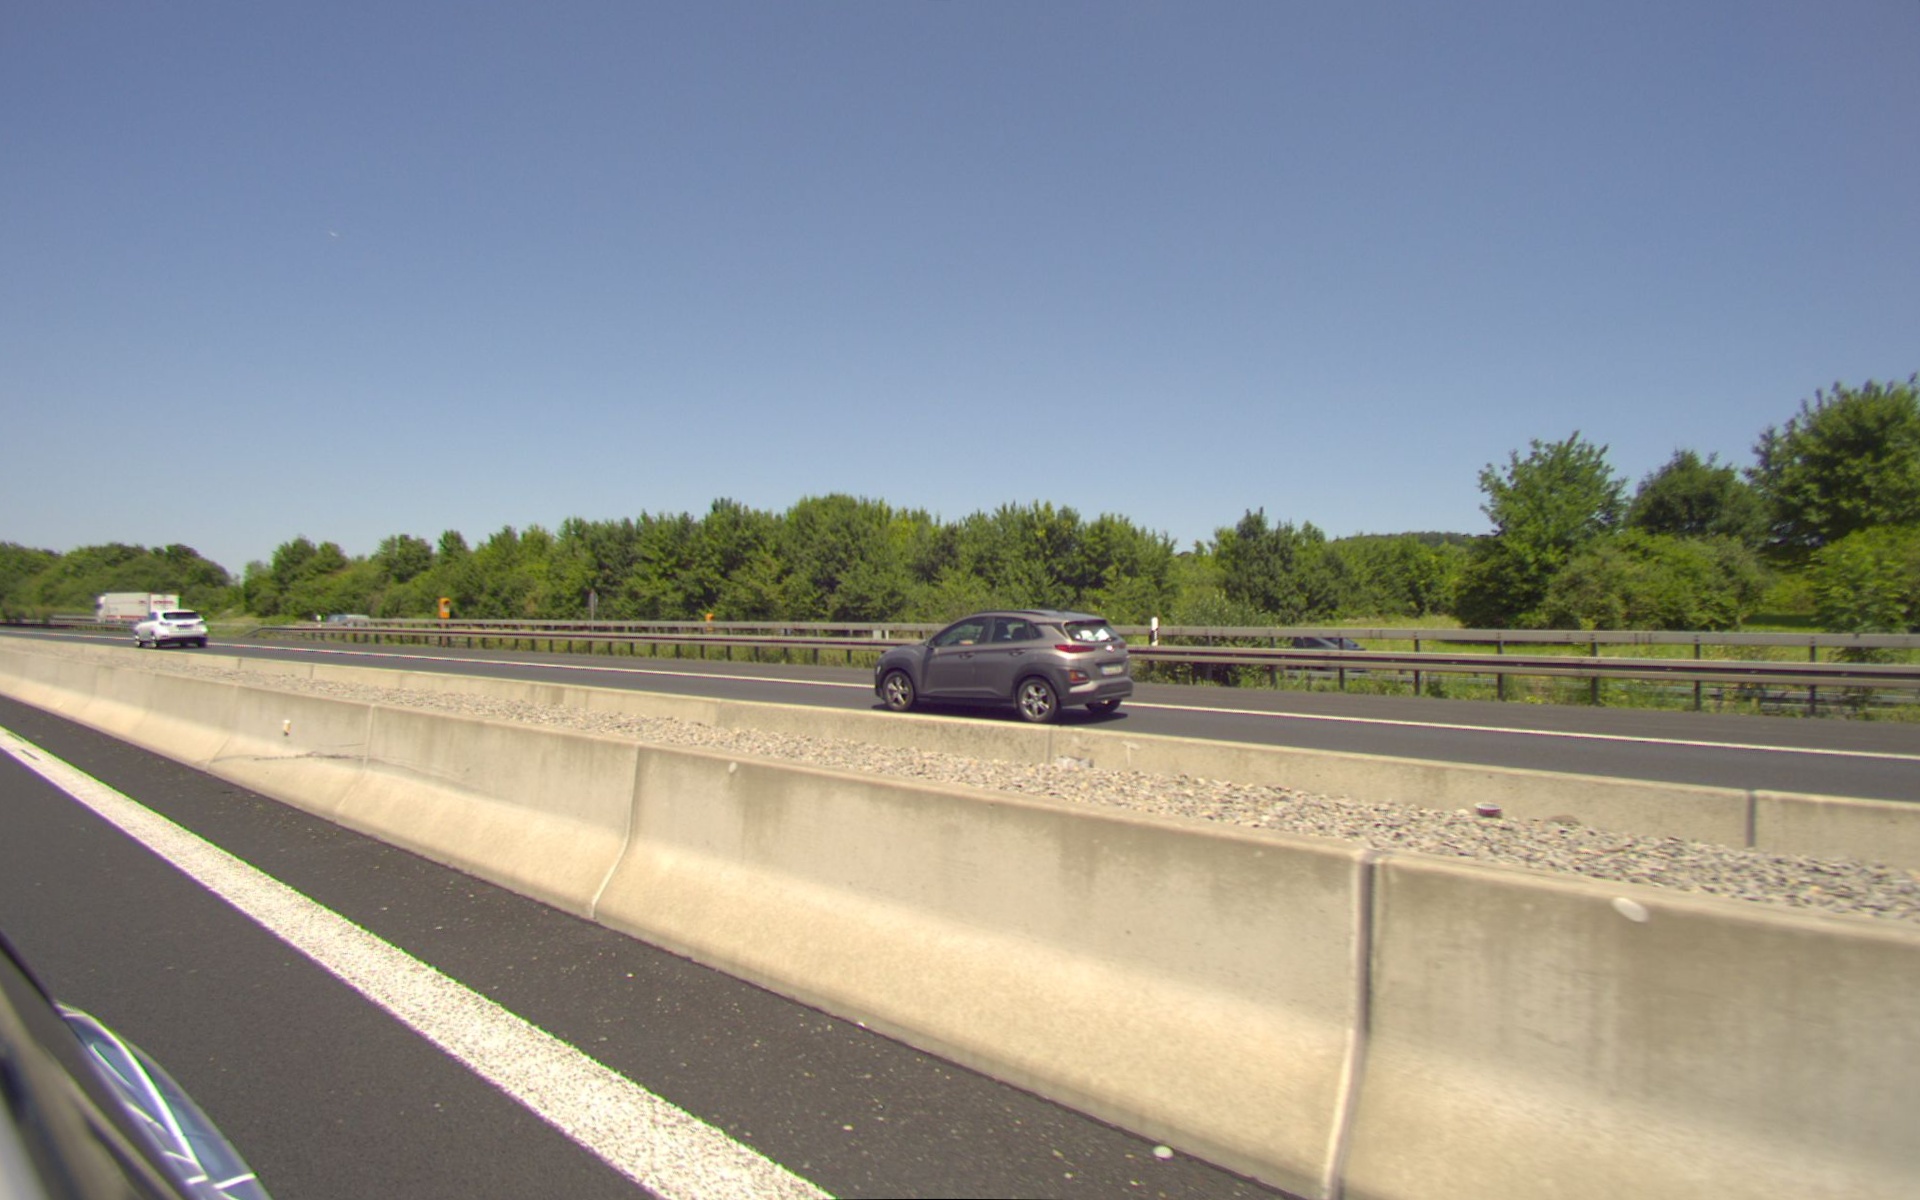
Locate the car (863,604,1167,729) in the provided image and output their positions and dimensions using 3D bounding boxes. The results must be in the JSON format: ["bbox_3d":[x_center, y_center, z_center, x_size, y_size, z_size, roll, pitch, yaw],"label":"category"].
[{"bbox_3d":[0.690,0.866,14.751,4.258,1.544,1.710,-1,0,41],"label":"car"}]

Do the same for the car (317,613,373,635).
[{"bbox_3d":[-44.444,1.700,73.130,4.864,1.470,1.974,0,-1,40],"label":"car"}]

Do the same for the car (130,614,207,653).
[{"bbox_3d":[-35.082,1.440,44.815,4.926,1.644,1.769,-1,-1,40],"label":"car"}]

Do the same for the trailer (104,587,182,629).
[{"bbox_3d":[-84.461,0.805,104.452,14.063,4.027,3.079,0,-1,38],"label":"trailer"}]

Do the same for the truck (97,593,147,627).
[{"bbox_3d":[-90.197,1.054,108.894,5.402,3.530,3.053,0,-1,38],"label":"truck"}]

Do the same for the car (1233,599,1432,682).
[{"bbox_3d":[8.728,0.887,23.874,3.998,1.780,1.972,0,-1,41],"label":"car"}]
